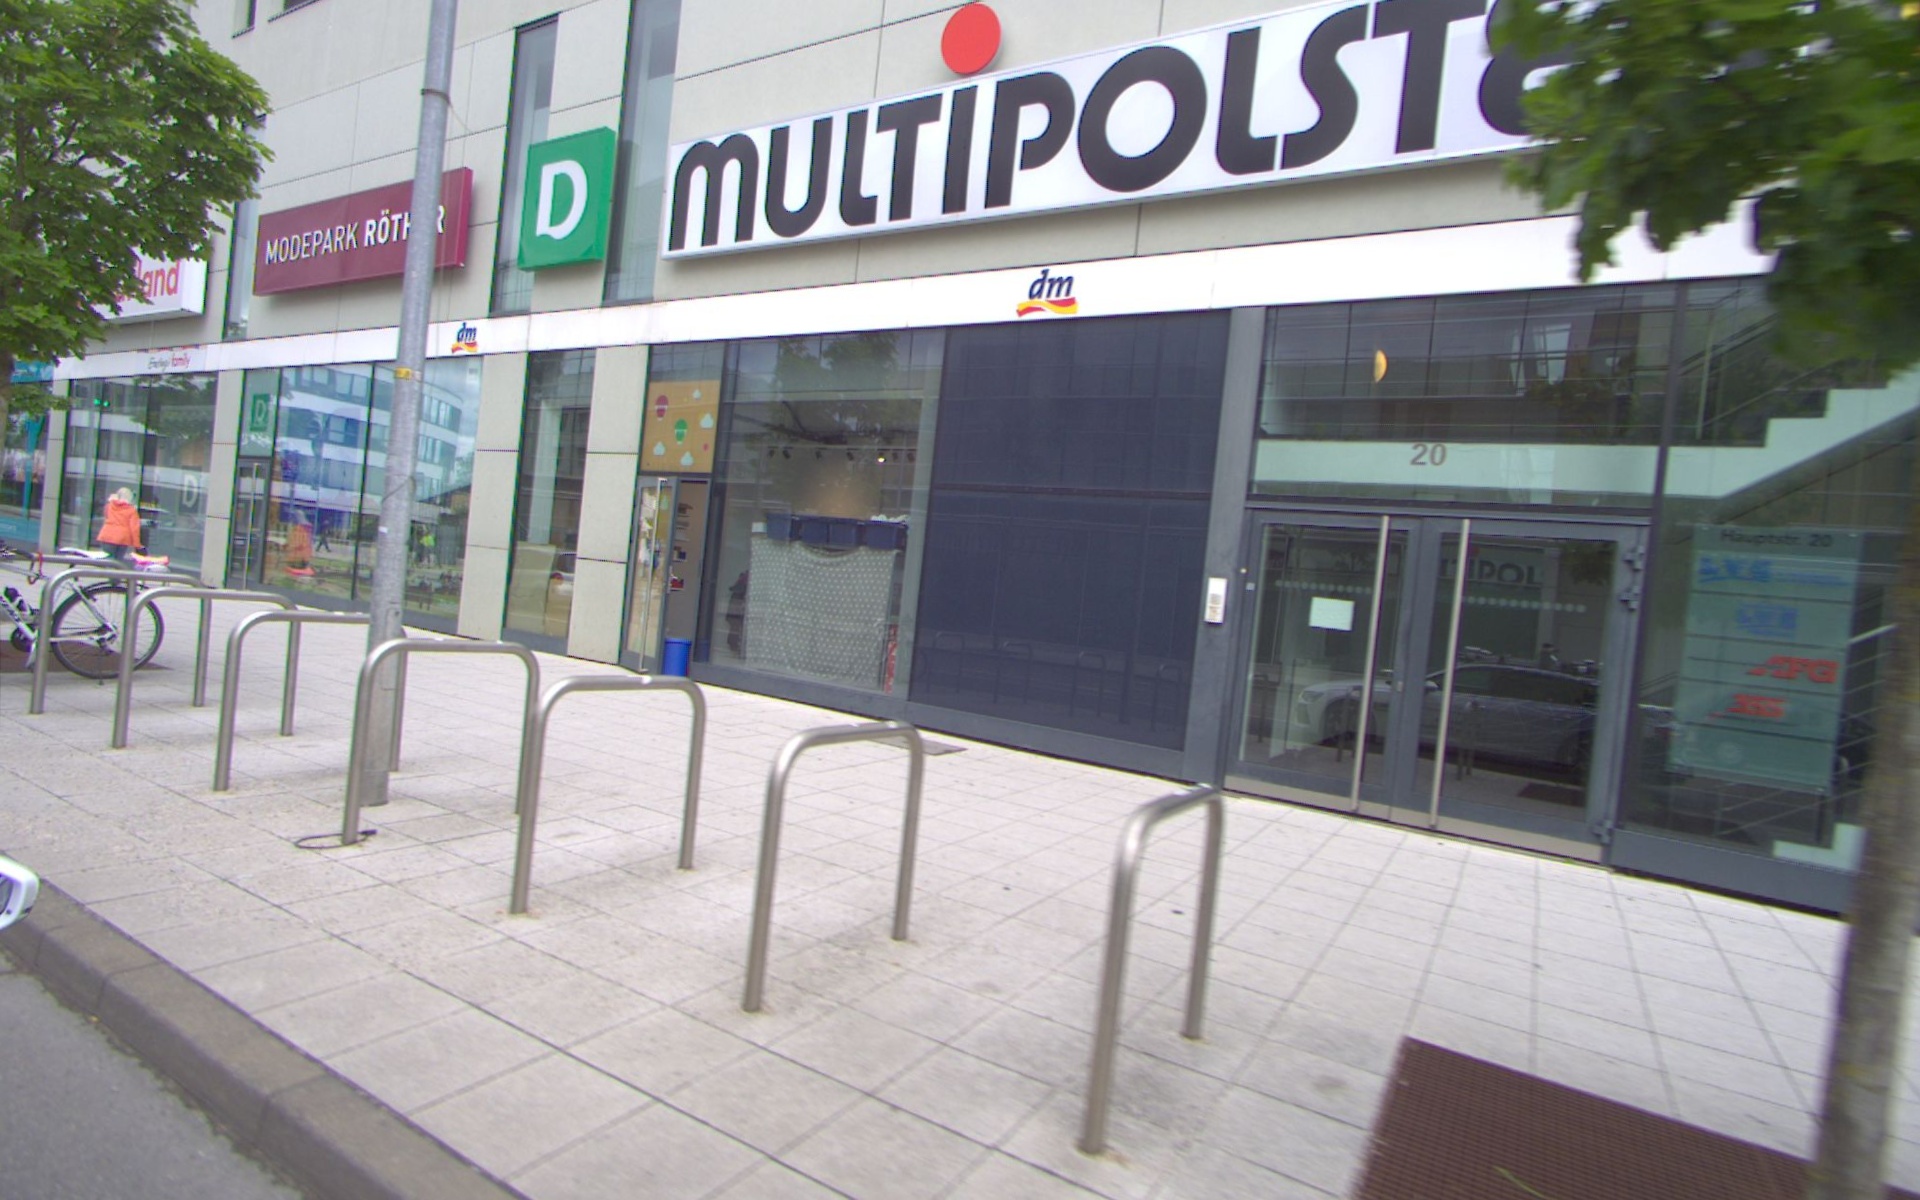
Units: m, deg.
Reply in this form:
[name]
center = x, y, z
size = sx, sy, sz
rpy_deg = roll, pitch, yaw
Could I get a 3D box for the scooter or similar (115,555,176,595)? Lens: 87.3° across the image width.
[scooter or similar]
center = -12.774, -0.387, 15.776
size = 0.632, 0.553, 0.550
rpy_deg = 7, 3, 32

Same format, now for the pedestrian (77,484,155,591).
[pedestrian]
center = -13.440, -0.985, 16.024
size = 0.799, 1.596, 0.710
rpy_deg = 7, 4, 32

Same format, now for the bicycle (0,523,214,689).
[bicycle]
center = -6.548, 0.033, 7.129
size = 0.739, 1.088, 1.827
rpy_deg = 7, 1, 30
